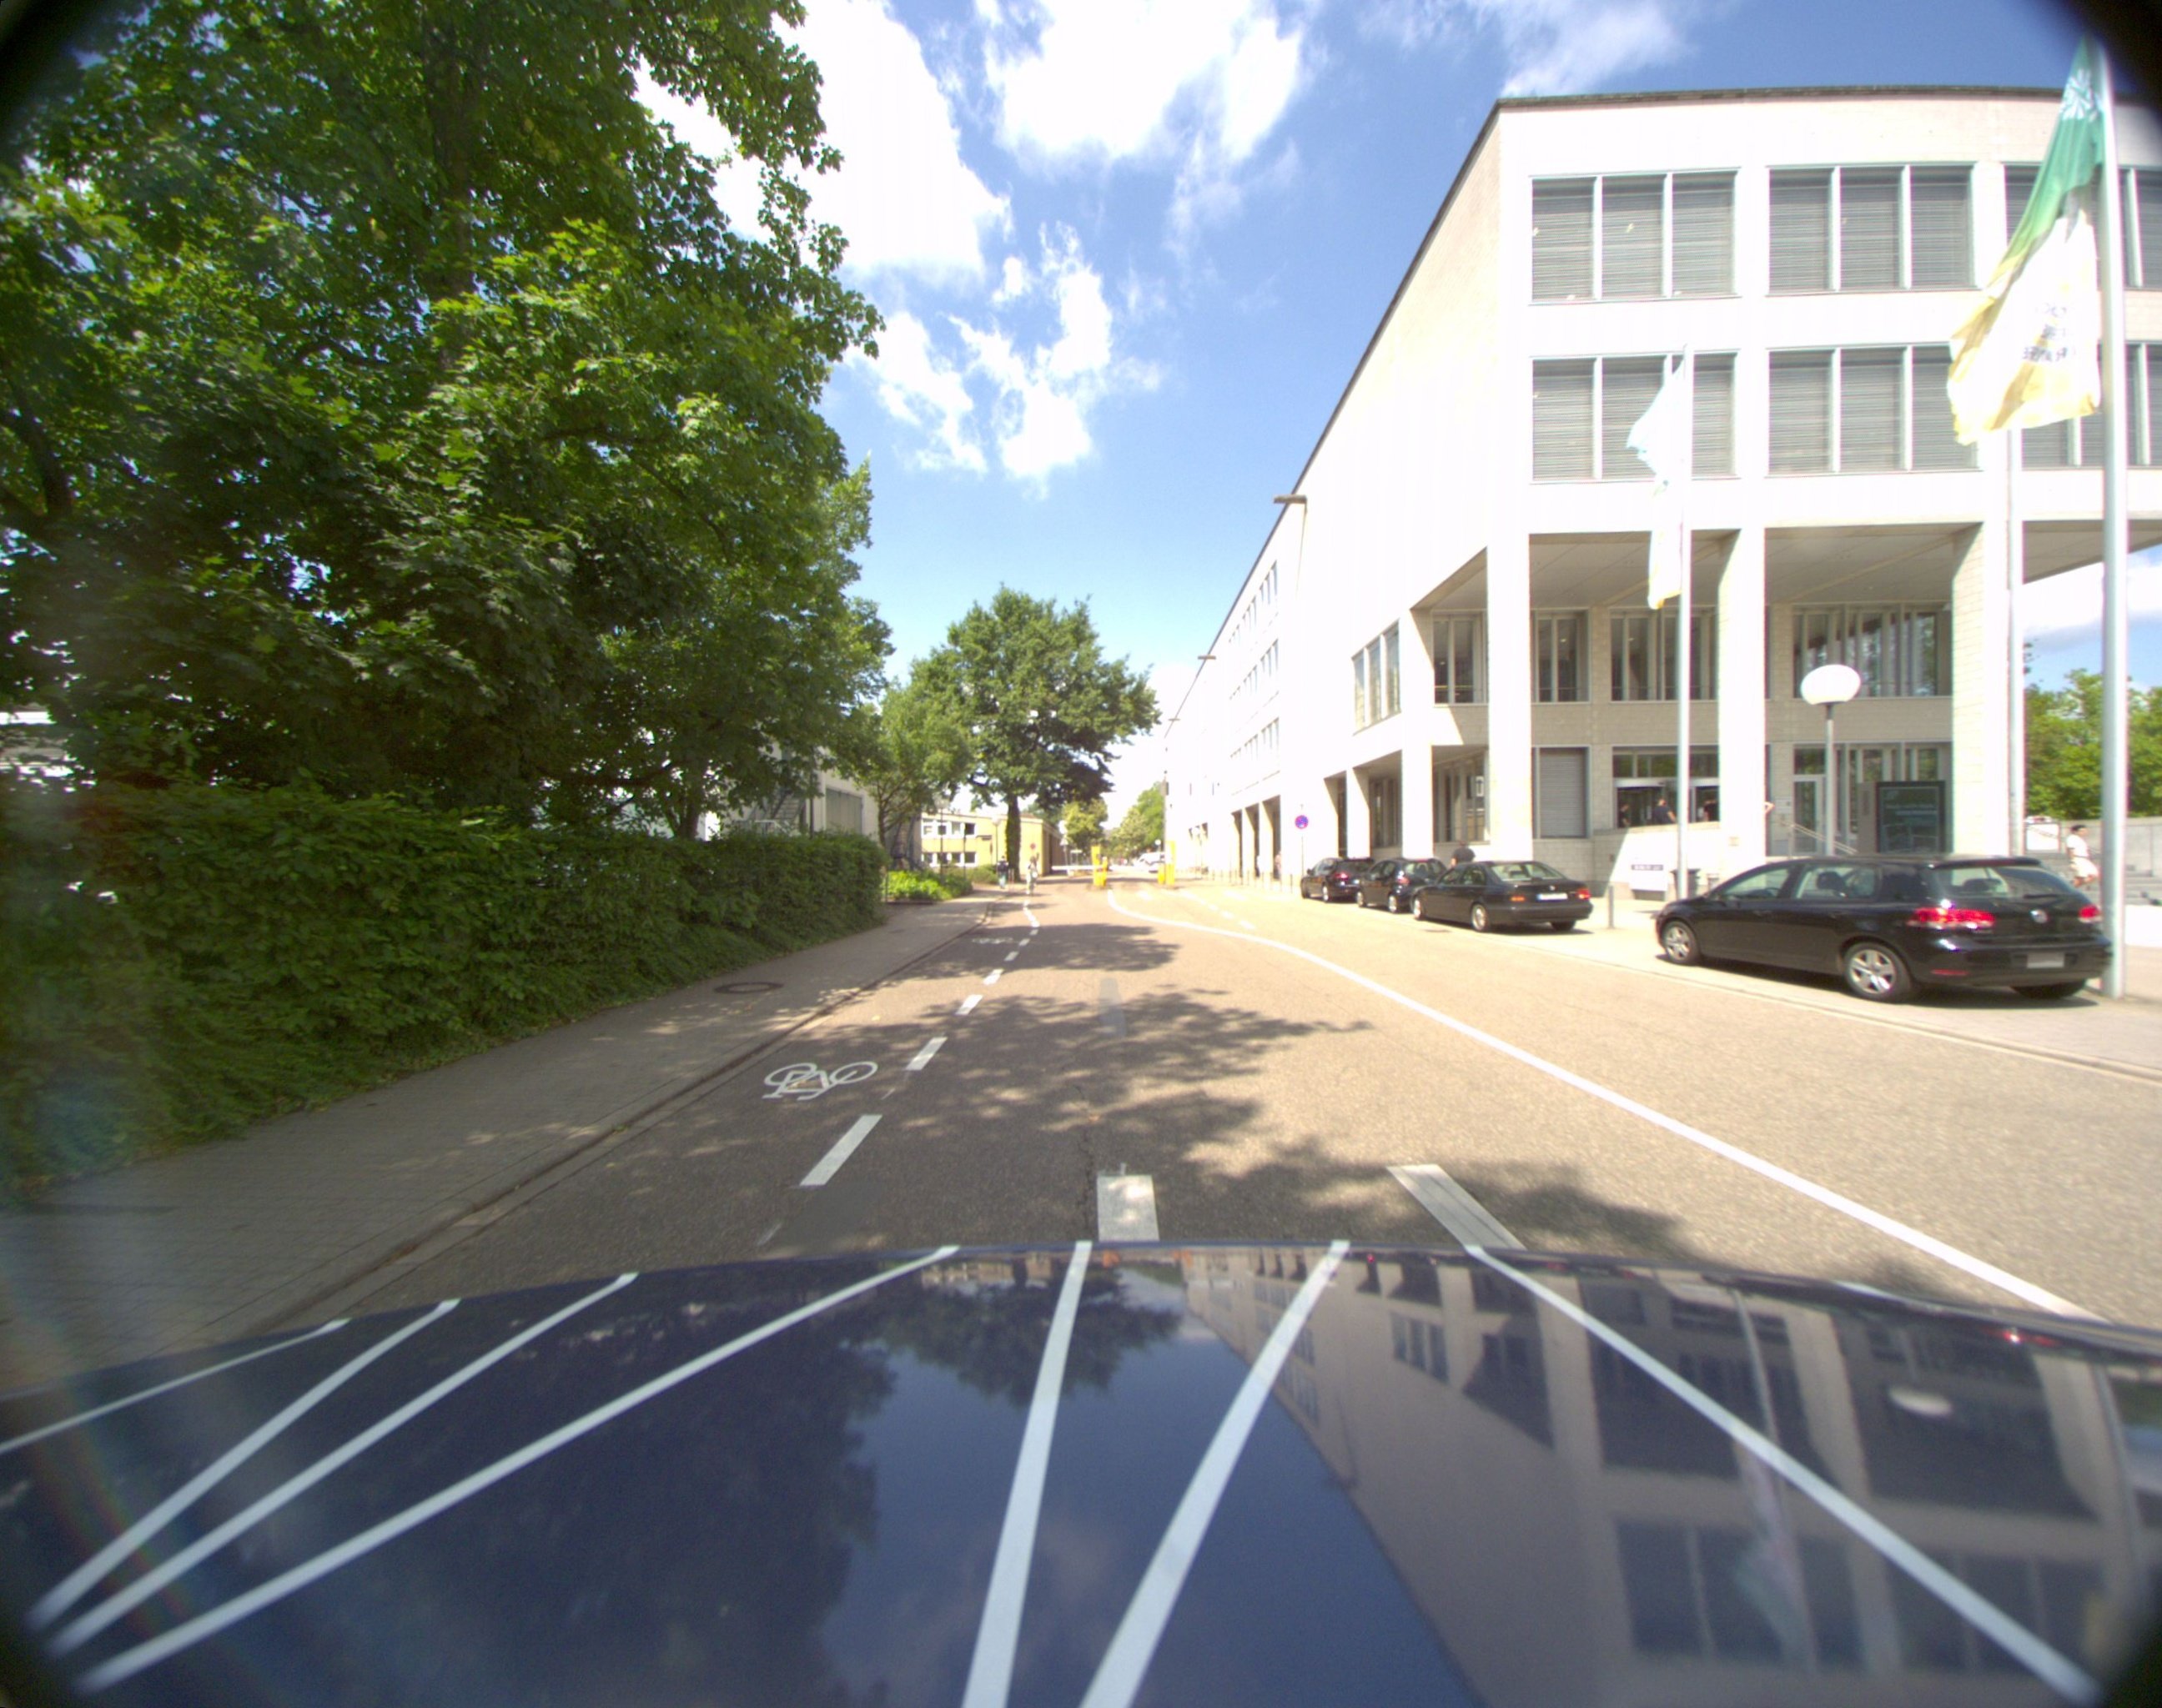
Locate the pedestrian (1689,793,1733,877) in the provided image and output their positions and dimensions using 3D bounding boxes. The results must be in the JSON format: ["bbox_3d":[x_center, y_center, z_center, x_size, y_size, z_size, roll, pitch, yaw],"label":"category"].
[{"bbox_3d":[18.413,-0.539,22.208,0.761,2.408,0.736,-1,0,-25],"label":"pedestrian"}]

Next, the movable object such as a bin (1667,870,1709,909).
[{"bbox_3d":[15.227,0.882,19.060,0.577,0.925,0.595,-1,0,2],"label":"movable object such as a bin"}]

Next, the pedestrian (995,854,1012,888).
[{"bbox_3d":[-3.862,0.837,37.967,0.741,1.665,1.256,-1,0,-2],"label":"pedestrian"}]

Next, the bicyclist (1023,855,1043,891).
[{"bbox_3d":[-2.034,0.800,32.156,0.781,1.478,0.695,0,0,0],"label":"bicyclist"}]

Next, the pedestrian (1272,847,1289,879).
[{"bbox_3d":[12.812,0.560,48.812,0.850,2.002,1.066,0,0,-1],"label":"pedestrian"}]

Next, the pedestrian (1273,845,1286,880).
[{"bbox_3d":[11.797,0.498,45.107,0.544,2.002,0.835,-1,1,4],"label":"pedestrian"}]

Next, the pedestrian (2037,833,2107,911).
[{"bbox_3d":[22.796,0.407,17.483,0.738,1.746,0.759,-1,0,-15],"label":"pedestrian"}]

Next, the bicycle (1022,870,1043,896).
[{"bbox_3d":[-2.040,1.231,32.238,0.781,1.042,1.913,0,0,-1],"label":"bicycle"}]

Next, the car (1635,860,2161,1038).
[{"bbox_3d":[8.718,0.857,8.744,1.752,1.458,4.197,-3,0,3],"label":"car"}]

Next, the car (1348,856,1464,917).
[{"bbox_3d":[8.837,0.827,20.980,1.643,1.458,3.707,-3,0,1],"label":"car"}]

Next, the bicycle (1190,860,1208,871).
[{"bbox_3d":[11.941,1.120,76.889,1.643,1.080,0.608,-1,0,-4],"label":"bicycle"}]

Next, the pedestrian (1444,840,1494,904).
[{"bbox_3d":[12.559,0.569,24.658,0.987,2.002,1.164,-1,0,-3],"label":"pedestrian"}]

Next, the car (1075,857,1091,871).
[{"bbox_3d":[0.272,1.088,87.594,1.760,1.559,3.818,1,0,1],"label":"car"}]

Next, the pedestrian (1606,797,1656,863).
[{"bbox_3d":[16.945,-0.723,23.428,0.746,2.002,0.979,-2,1,-19],"label":"pedestrian"}]

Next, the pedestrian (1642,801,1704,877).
[{"bbox_3d":[16.157,-0.395,20.764,0.980,2.002,0.910,-1,1,1],"label":"pedestrian"}]

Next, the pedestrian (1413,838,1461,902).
[{"bbox_3d":[11.498,0.506,24.571,0.987,2.002,1.164,-1,0,-3],"label":"pedestrian"}]

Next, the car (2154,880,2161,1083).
[{"bbox_3d":[8.482,0.874,3.466,1.680,1.458,3.911,-3,0,2],"label":"car"}]

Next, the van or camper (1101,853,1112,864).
[{"bbox_3d":[5.602,1.055,166.149,1.997,2.347,4.386,0,0,8],"label":"van or camper"}]

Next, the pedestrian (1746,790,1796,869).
[{"bbox_3d":[19.137,-0.659,21.079,0.704,2.133,0.806,-1,1,13],"label":"pedestrian"}]

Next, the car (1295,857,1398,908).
[{"bbox_3d":[8.746,0.868,25.476,1.864,1.458,4.719,-3,0,1],"label":"car"}]

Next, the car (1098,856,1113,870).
[{"bbox_3d":[3.420,1.205,104.361,1.998,1.805,4.001,0,0,2],"label":"car"}]

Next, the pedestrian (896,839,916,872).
[{"bbox_3d":[-10.761,0.120,46.804,0.929,2.002,0.950,0,0,5],"label":"pedestrian"}]

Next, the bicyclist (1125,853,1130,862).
[{"bbox_3d":[8.765,0.643,142.683,0.761,1.766,0.733,-1,1,0],"label":"bicyclist"}]

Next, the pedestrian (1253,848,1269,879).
[{"bbox_3d":[11.932,0.630,50.323,0.858,2.002,0.881,-1,1,4],"label":"pedestrian"}]

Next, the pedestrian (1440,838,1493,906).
[{"bbox_3d":[11.754,0.532,23.229,0.987,2.002,1.164,-1,0,-3],"label":"pedestrian"}]

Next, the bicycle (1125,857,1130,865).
[{"bbox_3d":[8.796,1.363,142.948,0.797,1.485,2.062,-1,0,0],"label":"bicycle"}]

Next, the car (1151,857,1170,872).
[{"bbox_3d":[9.010,1.205,86.041,1.730,1.526,4.406,-3,0,2],"label":"car"}]

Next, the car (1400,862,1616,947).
[{"bbox_3d":[8.546,0.926,15.862,1.864,1.370,5.017,-3,0,3],"label":"car"}]

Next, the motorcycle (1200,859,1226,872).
[{"bbox_3d":[11.740,0.986,67.712,2.173,1.131,0.774,0,0,-9],"label":"motorcycle"}]
